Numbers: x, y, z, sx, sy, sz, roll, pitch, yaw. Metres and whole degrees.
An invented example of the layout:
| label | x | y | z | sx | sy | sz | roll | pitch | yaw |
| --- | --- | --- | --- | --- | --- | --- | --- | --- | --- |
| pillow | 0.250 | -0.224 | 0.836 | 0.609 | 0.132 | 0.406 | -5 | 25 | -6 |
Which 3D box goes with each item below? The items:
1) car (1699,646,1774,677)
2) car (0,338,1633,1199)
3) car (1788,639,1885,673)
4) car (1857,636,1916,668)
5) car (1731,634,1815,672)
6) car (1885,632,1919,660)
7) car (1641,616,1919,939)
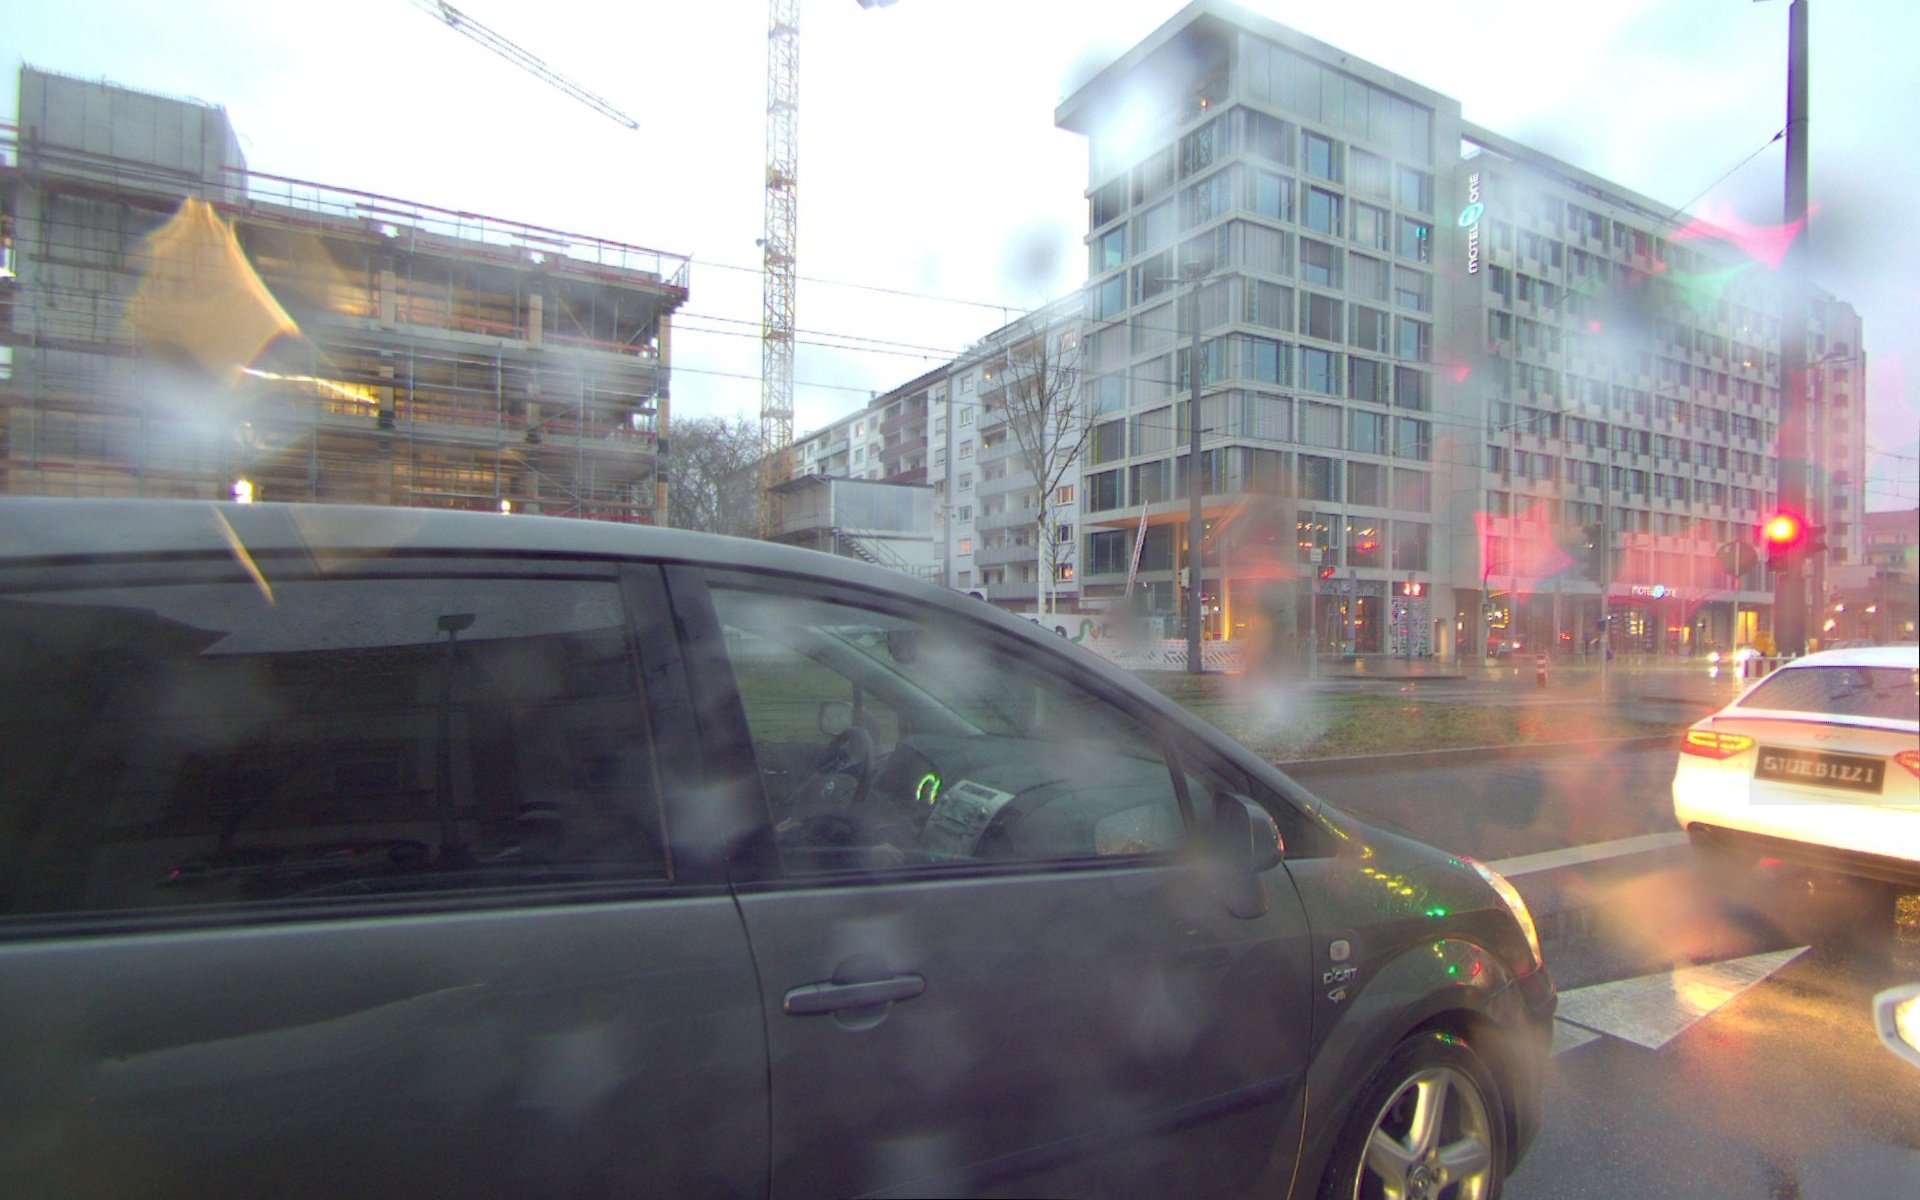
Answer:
| label | x | y | z | sx | sy | sz | roll | pitch | yaw |
| --- | --- | --- | --- | --- | --- | --- | --- | --- | --- |
| car | 43.772 | 3.441 | 56.618 | 3.951 | 1.595 | 1.873 | 2 | 0 | -29 |
| car | -0.491 | 0.597 | 2.147 | 3.956 | 1.615 | 1.750 | 2 | 0 | -32 |
| car | 42.004 | 2.661 | 48.110 | 5.035 | 1.481 | 1.984 | 2 | 0 | -30 |
| car | 47.953 | 2.639 | 51.953 | 5.062 | 1.481 | 1.973 | 2 | 0 | -45 |
| car | 41.871 | 2.716 | 51.703 | 4.544 | 1.813 | 1.872 | 2 | 0 | -30 |
| car | 54.105 | 2.580 | 56.458 | 5.042 | 1.481 | 1.981 | 2 | 0 | -34 |
| car | 6.138 | 0.907 | 6.122 | 4.205 | 1.489 | 1.750 | 2 | 0 | -32 |
